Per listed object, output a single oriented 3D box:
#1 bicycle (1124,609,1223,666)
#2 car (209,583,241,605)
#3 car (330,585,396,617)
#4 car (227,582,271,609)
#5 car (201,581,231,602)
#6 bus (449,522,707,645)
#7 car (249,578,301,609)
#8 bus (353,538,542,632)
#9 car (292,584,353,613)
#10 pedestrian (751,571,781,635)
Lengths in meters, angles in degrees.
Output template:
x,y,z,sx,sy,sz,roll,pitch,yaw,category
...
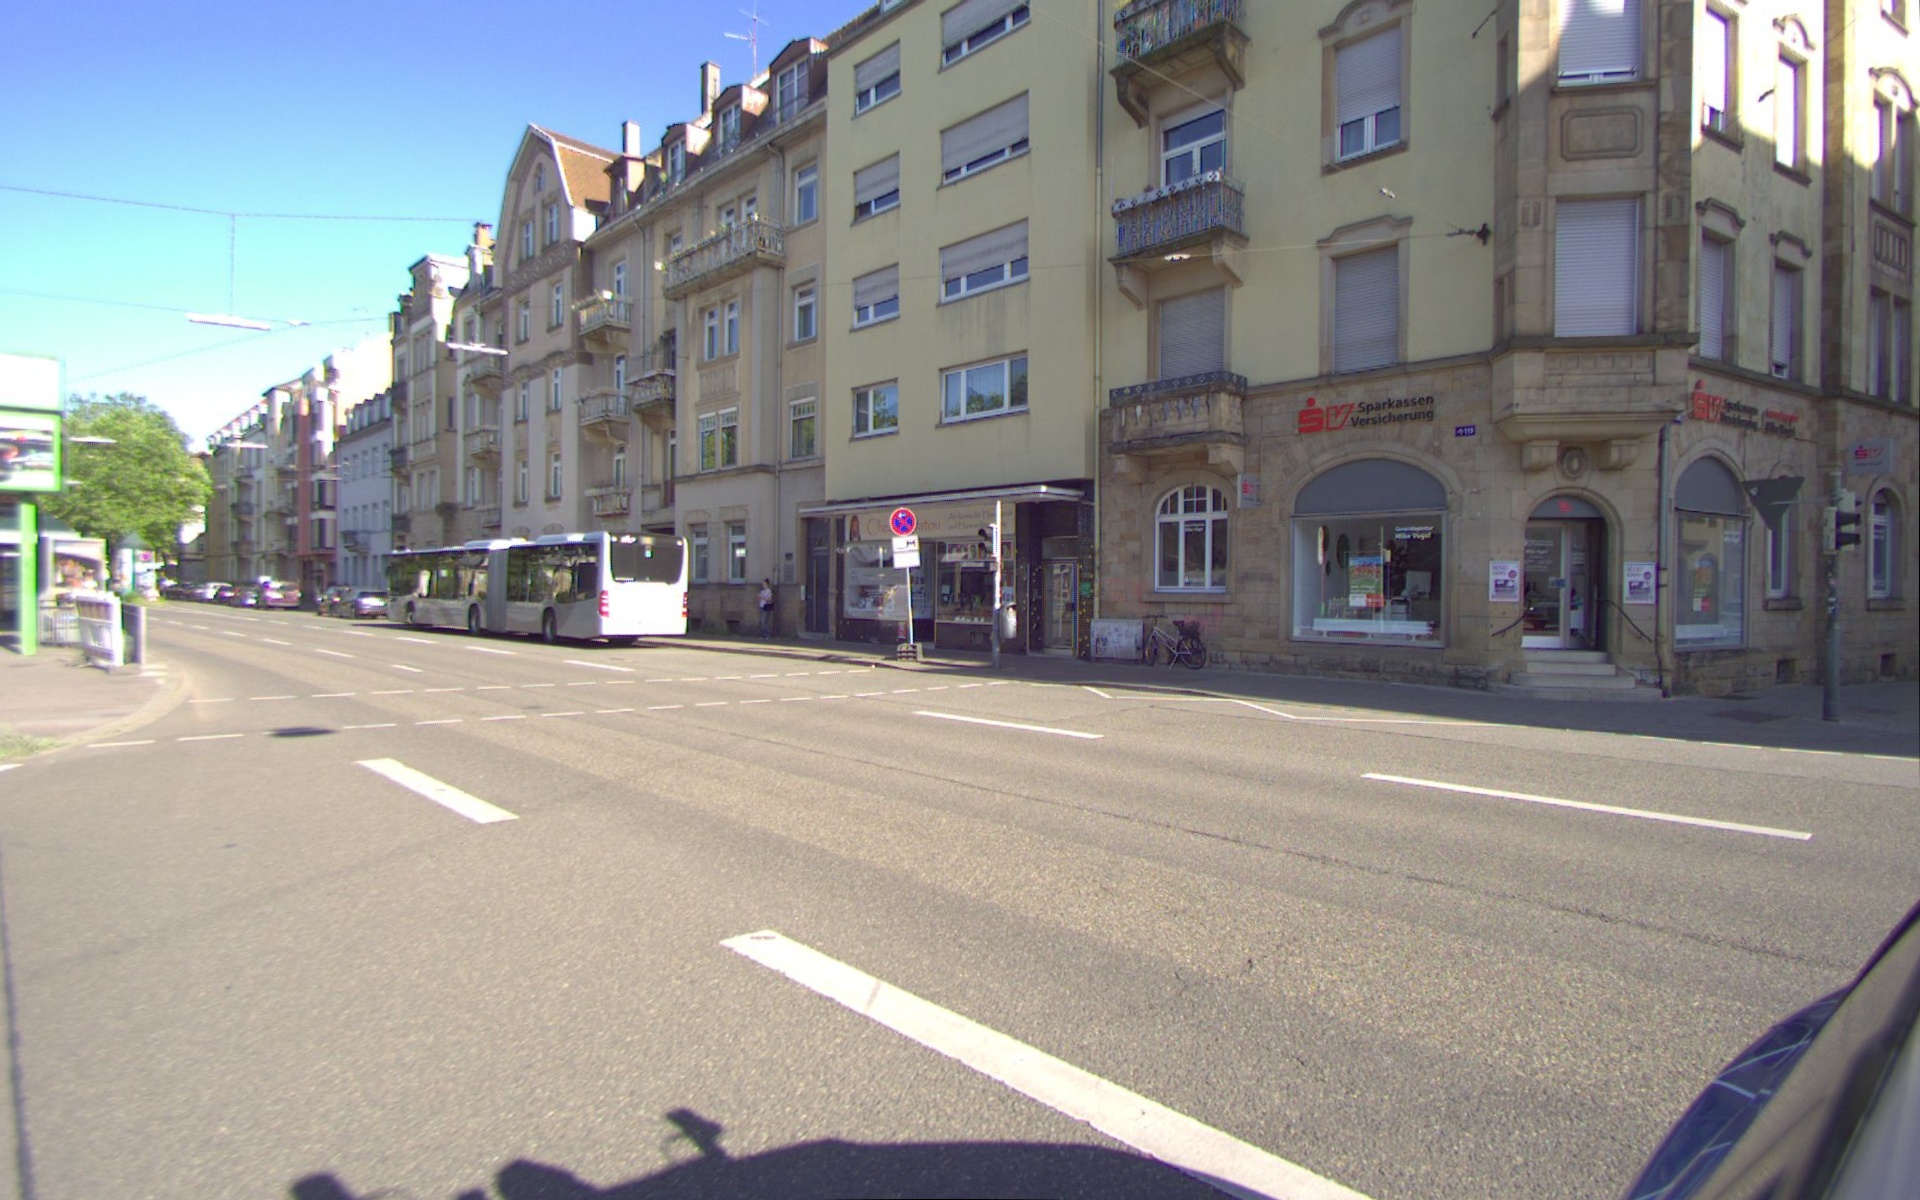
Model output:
x,y,z,sx,sy,sz,roll,pitch,yaw,category
4.137,0.711,19.751,0.508,0.987,1.949,-3,3,-43,bicycle
-56.498,-0.458,77.775,1.535,1.626,3.567,1,0,-43,car
-28.811,0.036,48.809,3.986,1.438,1.724,1,0,44,car
-49.624,-0.336,70.595,3.988,1.812,1.772,1,0,44,car
-60.183,-0.714,81.830,1.535,1.626,3.567,1,0,-43,car
-11.747,-0.495,30.225,10.652,3.072,3.083,1,0,45,bus
-43.732,-0.432,64.615,3.988,1.918,1.998,1,0,44,car
-19.400,-0.577,37.827,10.833,3.055,3.045,1,0,45,bus
-33.205,-0.088,52.675,3.986,1.438,1.724,1,0,44,car
-5.671,0.082,29.566,0.696,1.826,0.521,0,0,-40,pedestrian
